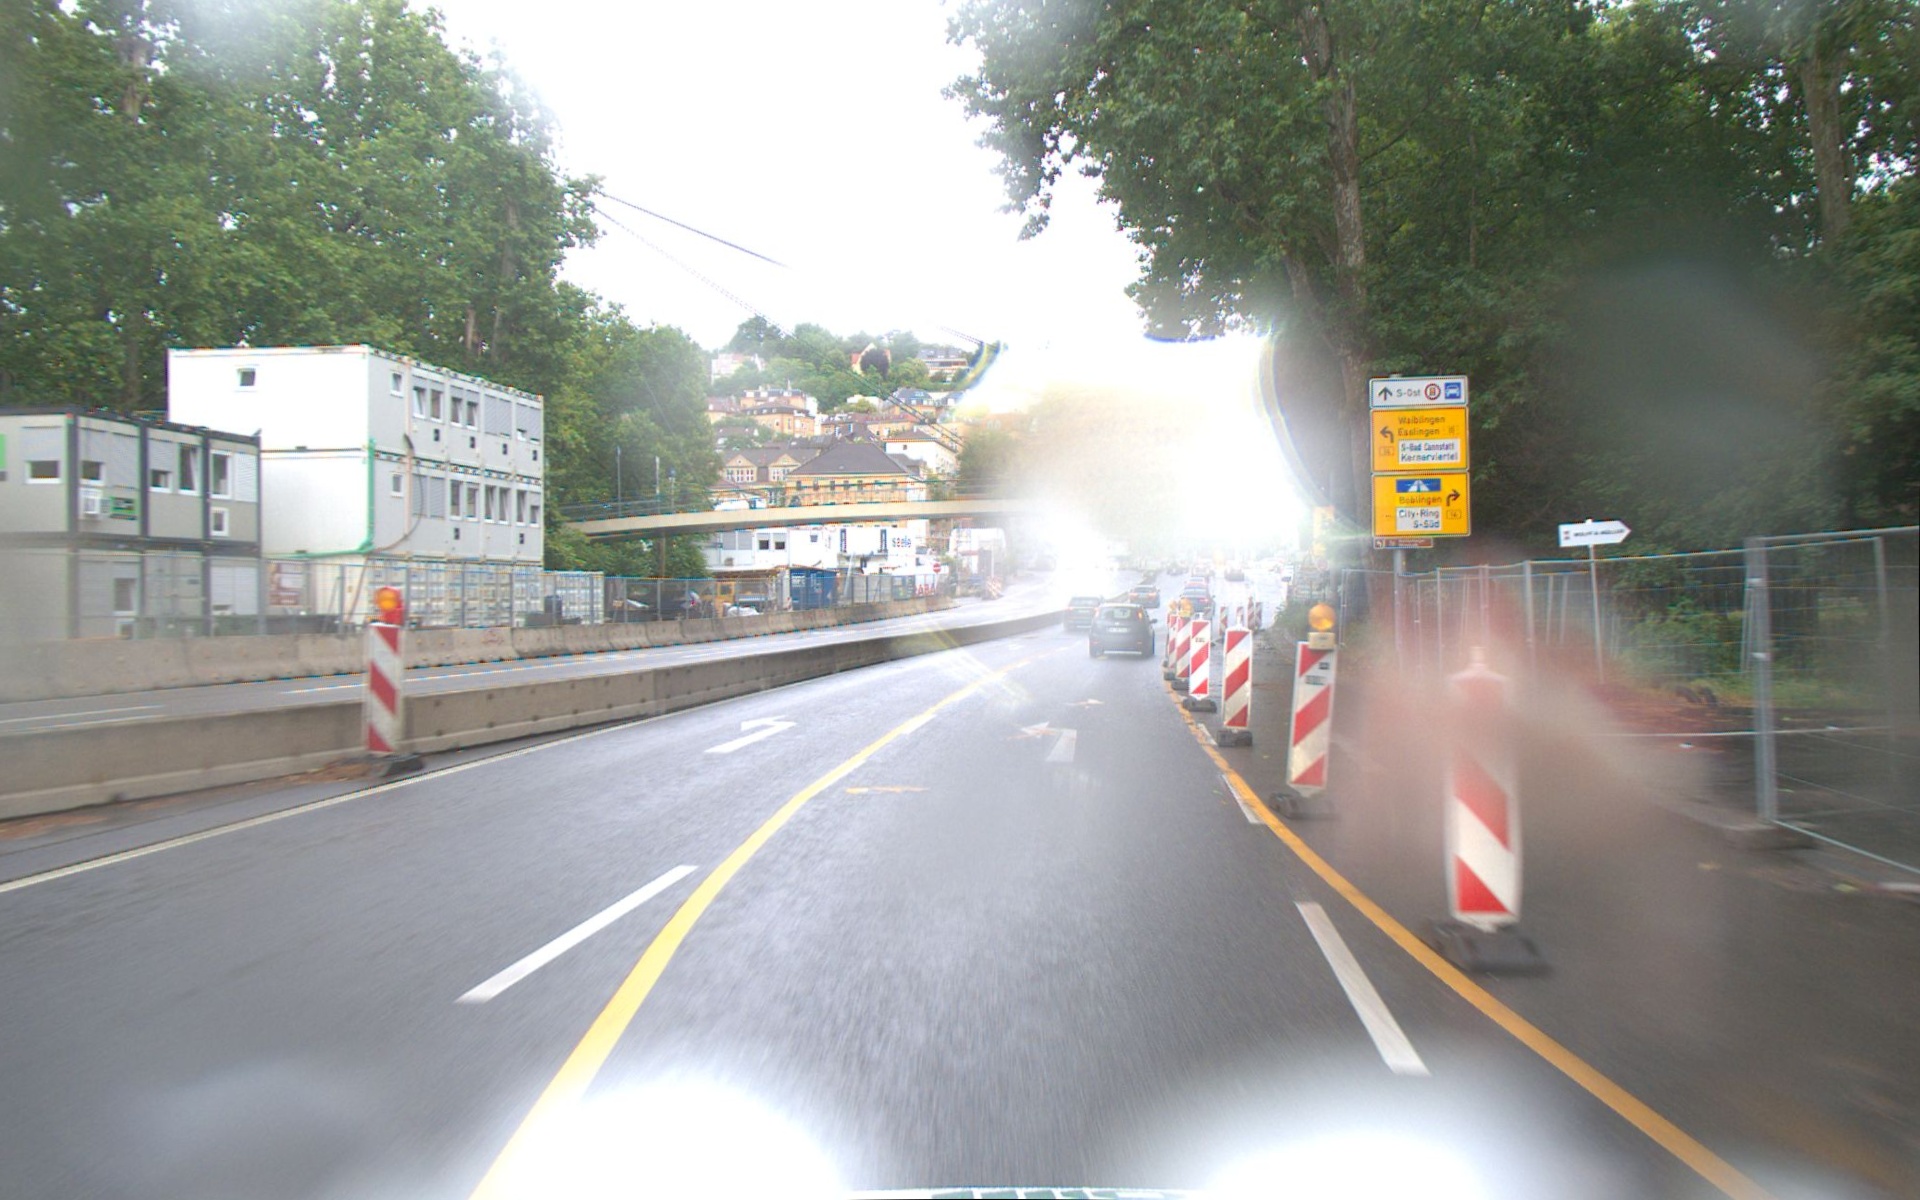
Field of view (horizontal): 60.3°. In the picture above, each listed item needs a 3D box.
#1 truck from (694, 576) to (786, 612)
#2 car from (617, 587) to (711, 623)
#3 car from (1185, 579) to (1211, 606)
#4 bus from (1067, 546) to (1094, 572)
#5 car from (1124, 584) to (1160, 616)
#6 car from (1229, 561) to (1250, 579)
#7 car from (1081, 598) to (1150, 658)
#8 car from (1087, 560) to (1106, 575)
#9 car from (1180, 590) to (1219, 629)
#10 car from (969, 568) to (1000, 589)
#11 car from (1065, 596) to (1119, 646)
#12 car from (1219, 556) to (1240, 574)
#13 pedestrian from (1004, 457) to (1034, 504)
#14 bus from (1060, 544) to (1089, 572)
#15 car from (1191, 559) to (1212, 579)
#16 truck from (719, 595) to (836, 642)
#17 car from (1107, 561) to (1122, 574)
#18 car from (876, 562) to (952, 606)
[{"bbox_3d":[-13.377,-0.361,100.732,5.136,2.049,2.165,-1,0,5],"label":"truck"},{"bbox_3d":[-14.804,0.249,82.959,4.332,1.656,1.959,-1,0,0],"label":"car"},{"bbox_3d":[18.678,-0.572,129.923,2.008,2.049,4.003,-1,0,8],"label":"car"},{"bbox_3d":[15.689,-5.325,214.894,2.645,3.206,9.159,-1,1,9],"label":"bus"},{"bbox_3d":[11.954,-0.002,108.529,1.951,2.049,4.003,-1,0,11],"label":"car"},{"bbox_3d":[28.297,-3.016,167.602,1.951,1.728,4.003,-1,0,7],"label":"car"},{"bbox_3d":[4.299,0.756,46.139,1.774,1.553,4.002,-1,0,4],"label":"car"},{"bbox_3d":[16.089,-3.869,194.830,2.037,1.659,4.857,-1,1,8],"label":"car"},{"bbox_3d":[13.397,0.548,92.314,2.060,2.086,4.003,-1,0,9],"label":"car"},{"bbox_3d":[2.206,-1.900,145.614,1.951,1.650,4.004,0,2,13],"label":"car"},{"bbox_3d":[5.676,0.886,70.903,1.973,2.049,4.003,-1,0,9],"label":"car"},{"bbox_3d":[28.350,-3.704,173.863,1.951,1.728,4.003,-1,0,7],"label":"car"},{"bbox_3d":[2.794,-5.631,77.830,1.123,2.096,1.060,-1,-1,17],"label":"pedestrian"},{"bbox_3d":[14.256,-5.194,205.806,2.746,3.240,8.815,-1,1,9],"label":"bus"},{"bbox_3d":[23.959,-3.057,164.374,1.951,1.902,4.003,-1,0,7],"label":"car"},{"bbox_3d":[-10.192,1.031,92.642,6.146,2.495,2.695,-1,0,2],"label":"truck"},{"bbox_3d":[19.836,-4.135,212.335,1.672,1.515,3.453,-1,0,10],"label":"car"},{"bbox_3d":[-3.136,-1.083,114.625,1.960,2.925,6.030,-1,0,35],"label":"car"}]
